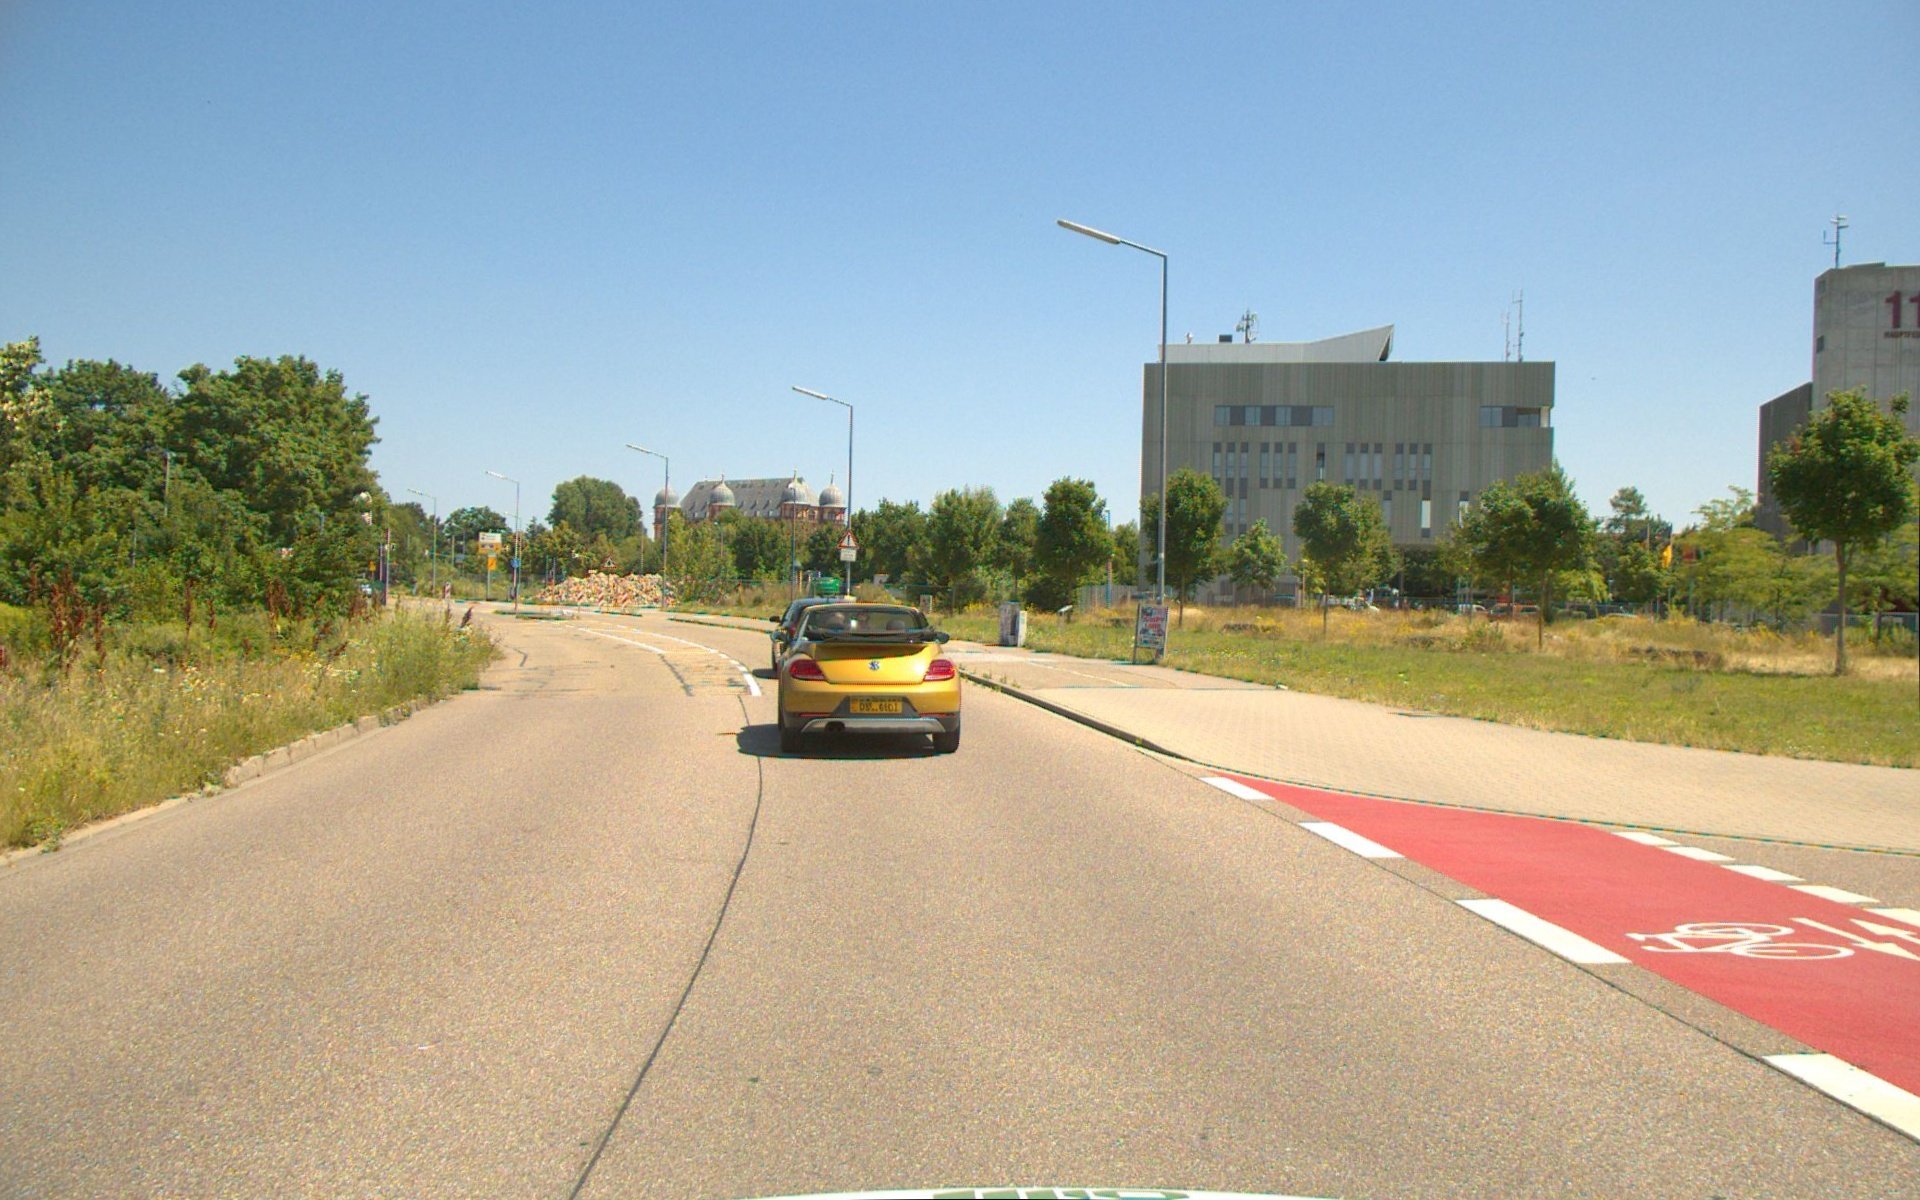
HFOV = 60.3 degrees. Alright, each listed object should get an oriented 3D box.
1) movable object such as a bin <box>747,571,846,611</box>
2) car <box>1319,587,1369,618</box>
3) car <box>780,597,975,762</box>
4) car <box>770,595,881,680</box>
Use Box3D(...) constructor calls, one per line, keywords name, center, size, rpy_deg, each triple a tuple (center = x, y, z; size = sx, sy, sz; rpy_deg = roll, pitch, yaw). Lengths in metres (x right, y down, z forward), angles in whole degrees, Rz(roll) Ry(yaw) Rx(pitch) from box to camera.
Box3D(name="movable object such as a bin", center=(-14.553, -0.819, 146.642), size=(4.888, 3.317, 10.363), rpy_deg=(1, 0, -30))
Box3D(name="car", center=(30.053, 0.202, 129.538), size=(3.760, 2.334, 1.744), rpy_deg=(1, 0, 14))
Box3D(name="car", center=(-0.960, 0.734, 17.105), size=(1.756, 1.462, 3.808), rpy_deg=(1, 0, -7))
Box3D(name="car", center=(-2.594, 0.654, 31.166), size=(1.695, 1.468, 3.990), rpy_deg=(1, 0, -10))
